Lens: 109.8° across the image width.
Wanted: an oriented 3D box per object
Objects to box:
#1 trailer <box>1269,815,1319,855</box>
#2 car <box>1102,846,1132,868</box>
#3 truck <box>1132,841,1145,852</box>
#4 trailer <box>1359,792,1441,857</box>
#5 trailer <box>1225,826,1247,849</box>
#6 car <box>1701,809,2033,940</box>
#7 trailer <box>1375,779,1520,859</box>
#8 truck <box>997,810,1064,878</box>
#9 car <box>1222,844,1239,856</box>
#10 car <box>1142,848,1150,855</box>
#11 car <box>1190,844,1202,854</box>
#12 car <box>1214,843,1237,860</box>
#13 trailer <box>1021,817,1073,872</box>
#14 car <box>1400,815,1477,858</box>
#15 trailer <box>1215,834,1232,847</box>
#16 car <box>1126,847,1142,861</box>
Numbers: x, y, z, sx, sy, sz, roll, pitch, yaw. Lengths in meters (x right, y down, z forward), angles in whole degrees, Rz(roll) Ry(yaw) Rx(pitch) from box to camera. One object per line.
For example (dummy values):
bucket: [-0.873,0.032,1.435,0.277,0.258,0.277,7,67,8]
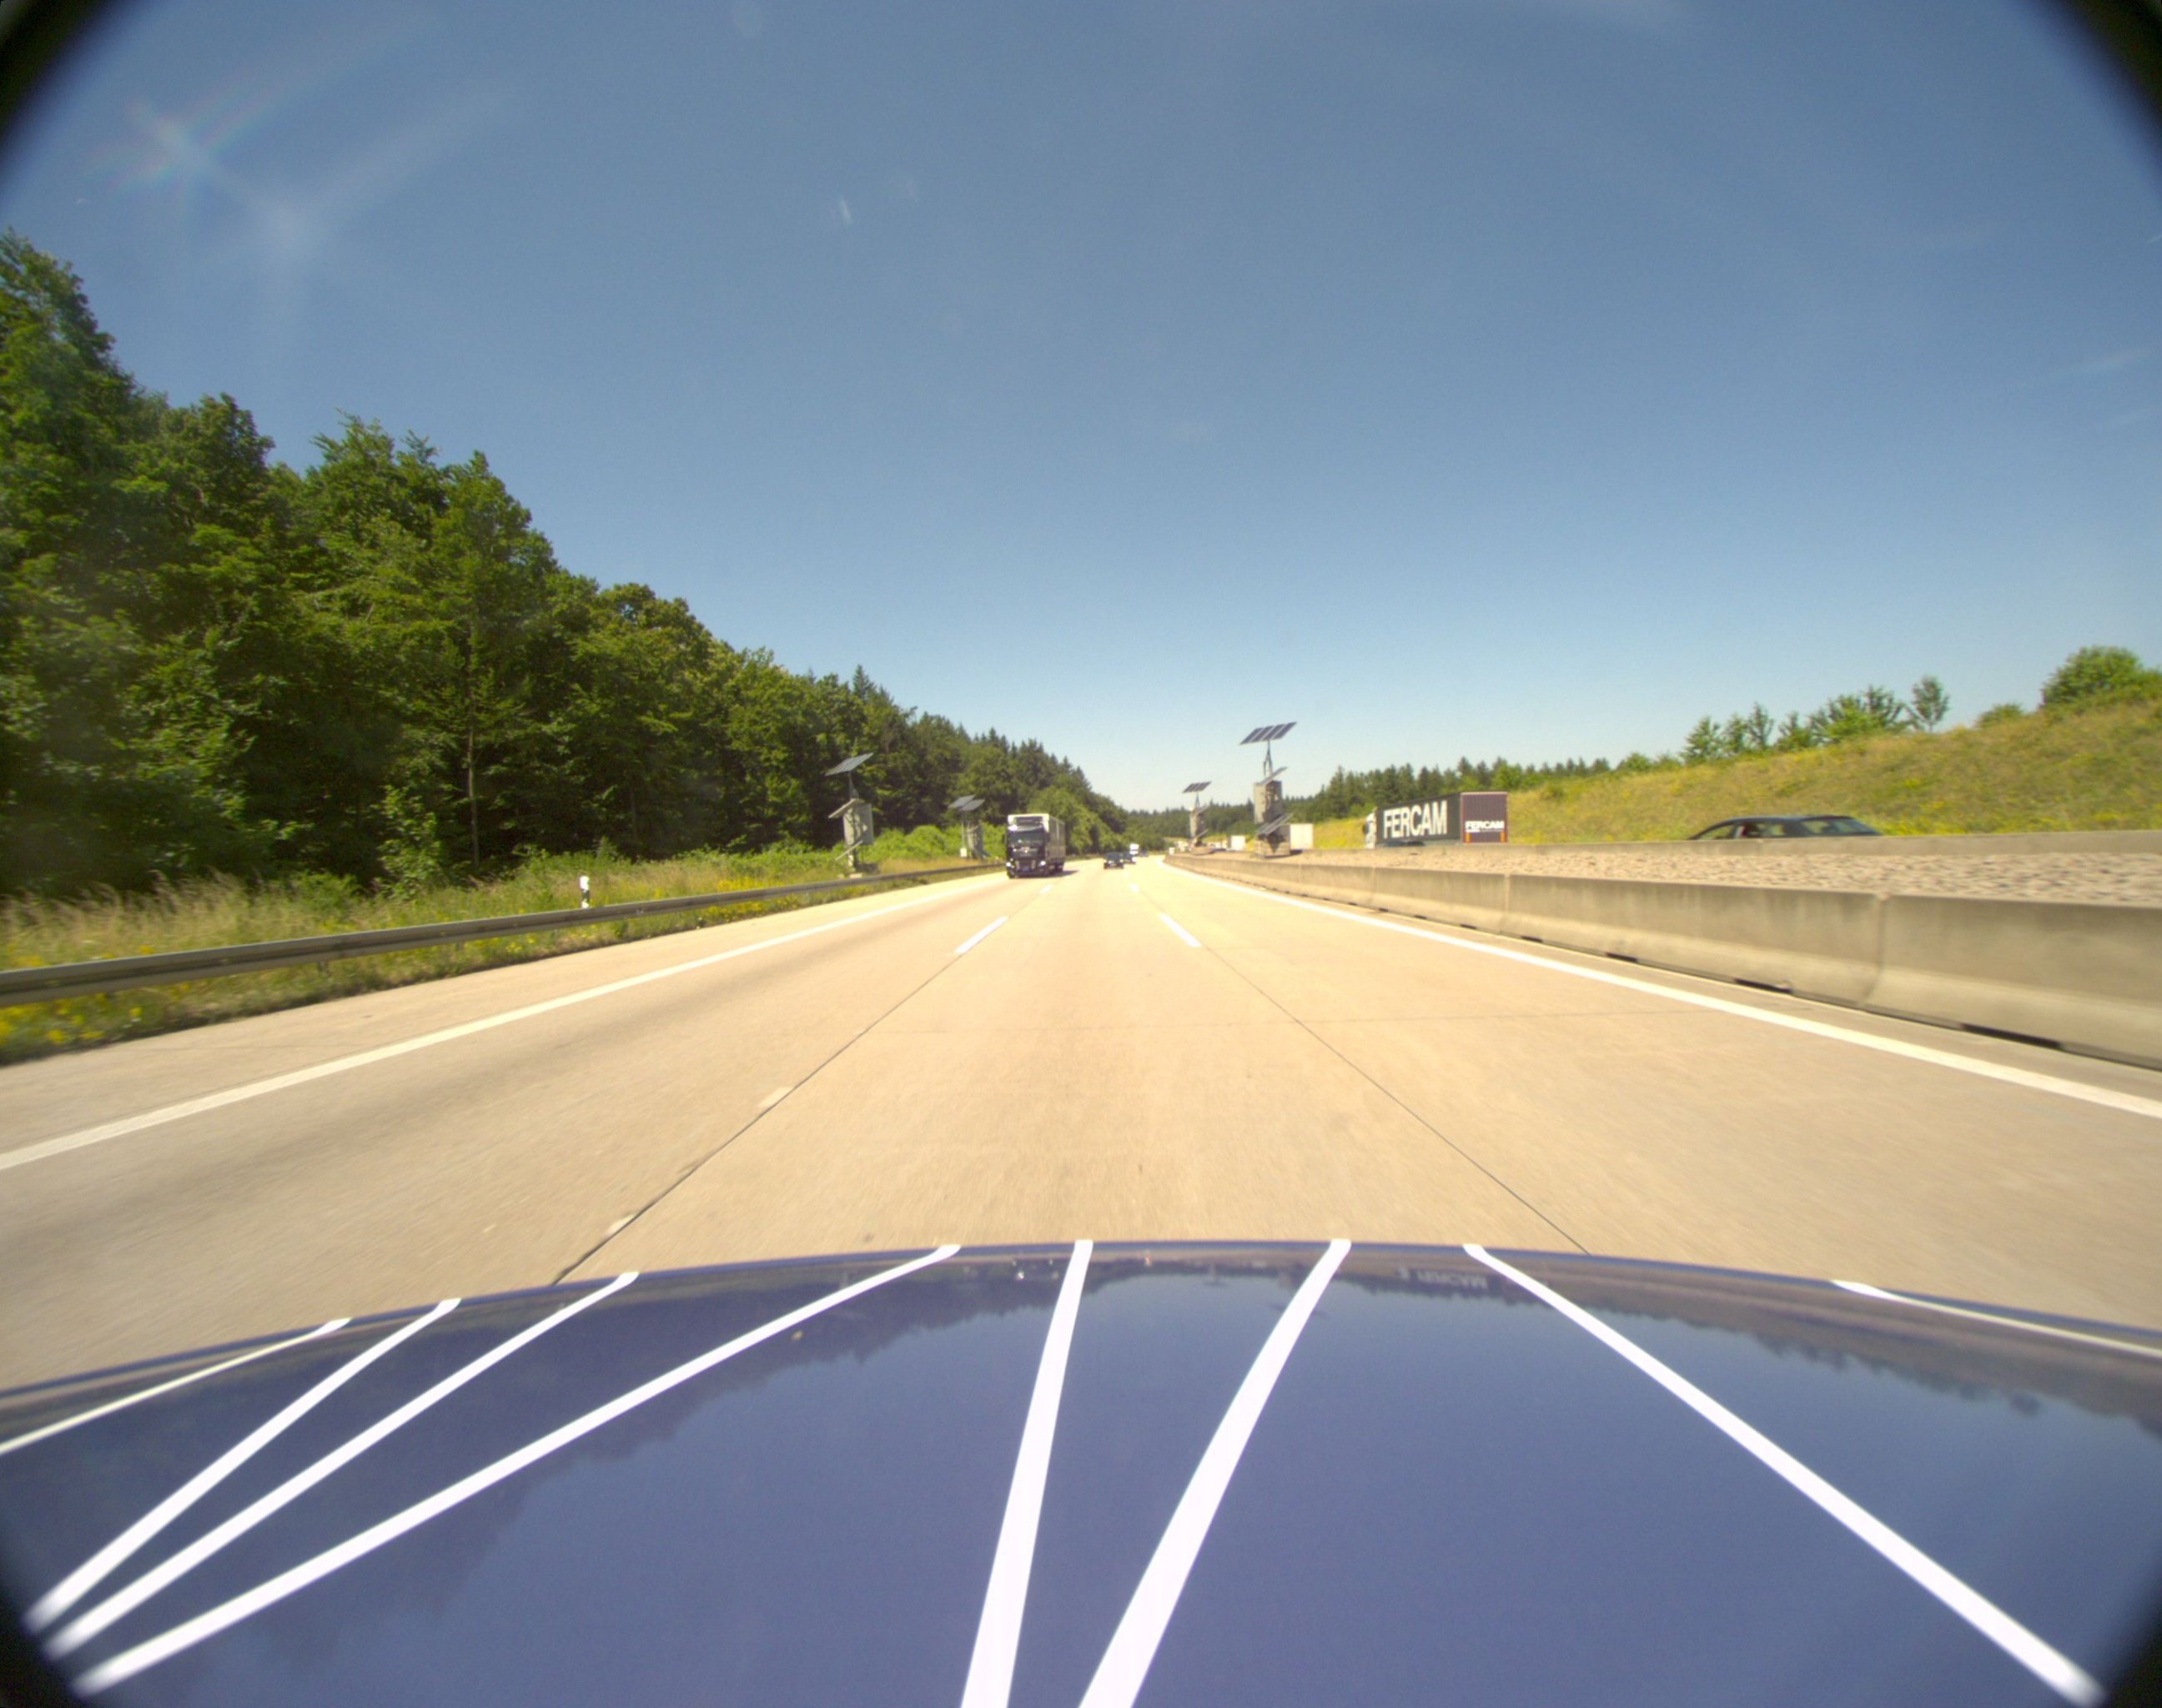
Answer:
trailer: [24.854,-2.142,89.520,2.940,4.144,14.391,-4,1,5]
car: [3.338,0.236,69.122,1.929,1.694,4.403,-4,0,12]
truck: [15.989,-2.011,210.941,2.481,2.779,5.919,-4,1,12]
trailer: [22.559,-2.030,54.159,2.940,4.145,6.891,-4,1,2]
trailer: [30.007,-3.177,147.741,2.939,4.144,14.393,-4,1,7]
car: [13.952,0.310,13.913,1.998,2.002,4.000,-1,1,2]
trailer: [22.297,-1.953,47.503,2.940,4.144,13.190,-4,1,2]
truck: [-3.176,-0.655,51.414,3.167,3.993,10.609,-2,0,3]
car: [22.283,-0.572,113.245,1.998,1.674,4.001,-1,1,3]
car: [16.189,-0.527,188.755,1.841,1.547,4.002,-4,1,8]
car: [22.946,-1.042,152.274,1.998,1.904,4.001,-1,1,3]
car: [16.738,-0.344,88.099,1.998,1.871,4.000,-1,1,3]
trailer: [-2.600,-0.734,61.240,3.142,3.993,9.089,-2,0,3]
car: [17.609,-0.833,37.672,1.998,2.002,4.000,-1,1,2]
trailer: [36.361,-3.434,193.990,2.940,3.196,11.834,-4,1,5]
car: [6.468,0.014,92.893,1.842,1.547,4.001,-4,1,5]
